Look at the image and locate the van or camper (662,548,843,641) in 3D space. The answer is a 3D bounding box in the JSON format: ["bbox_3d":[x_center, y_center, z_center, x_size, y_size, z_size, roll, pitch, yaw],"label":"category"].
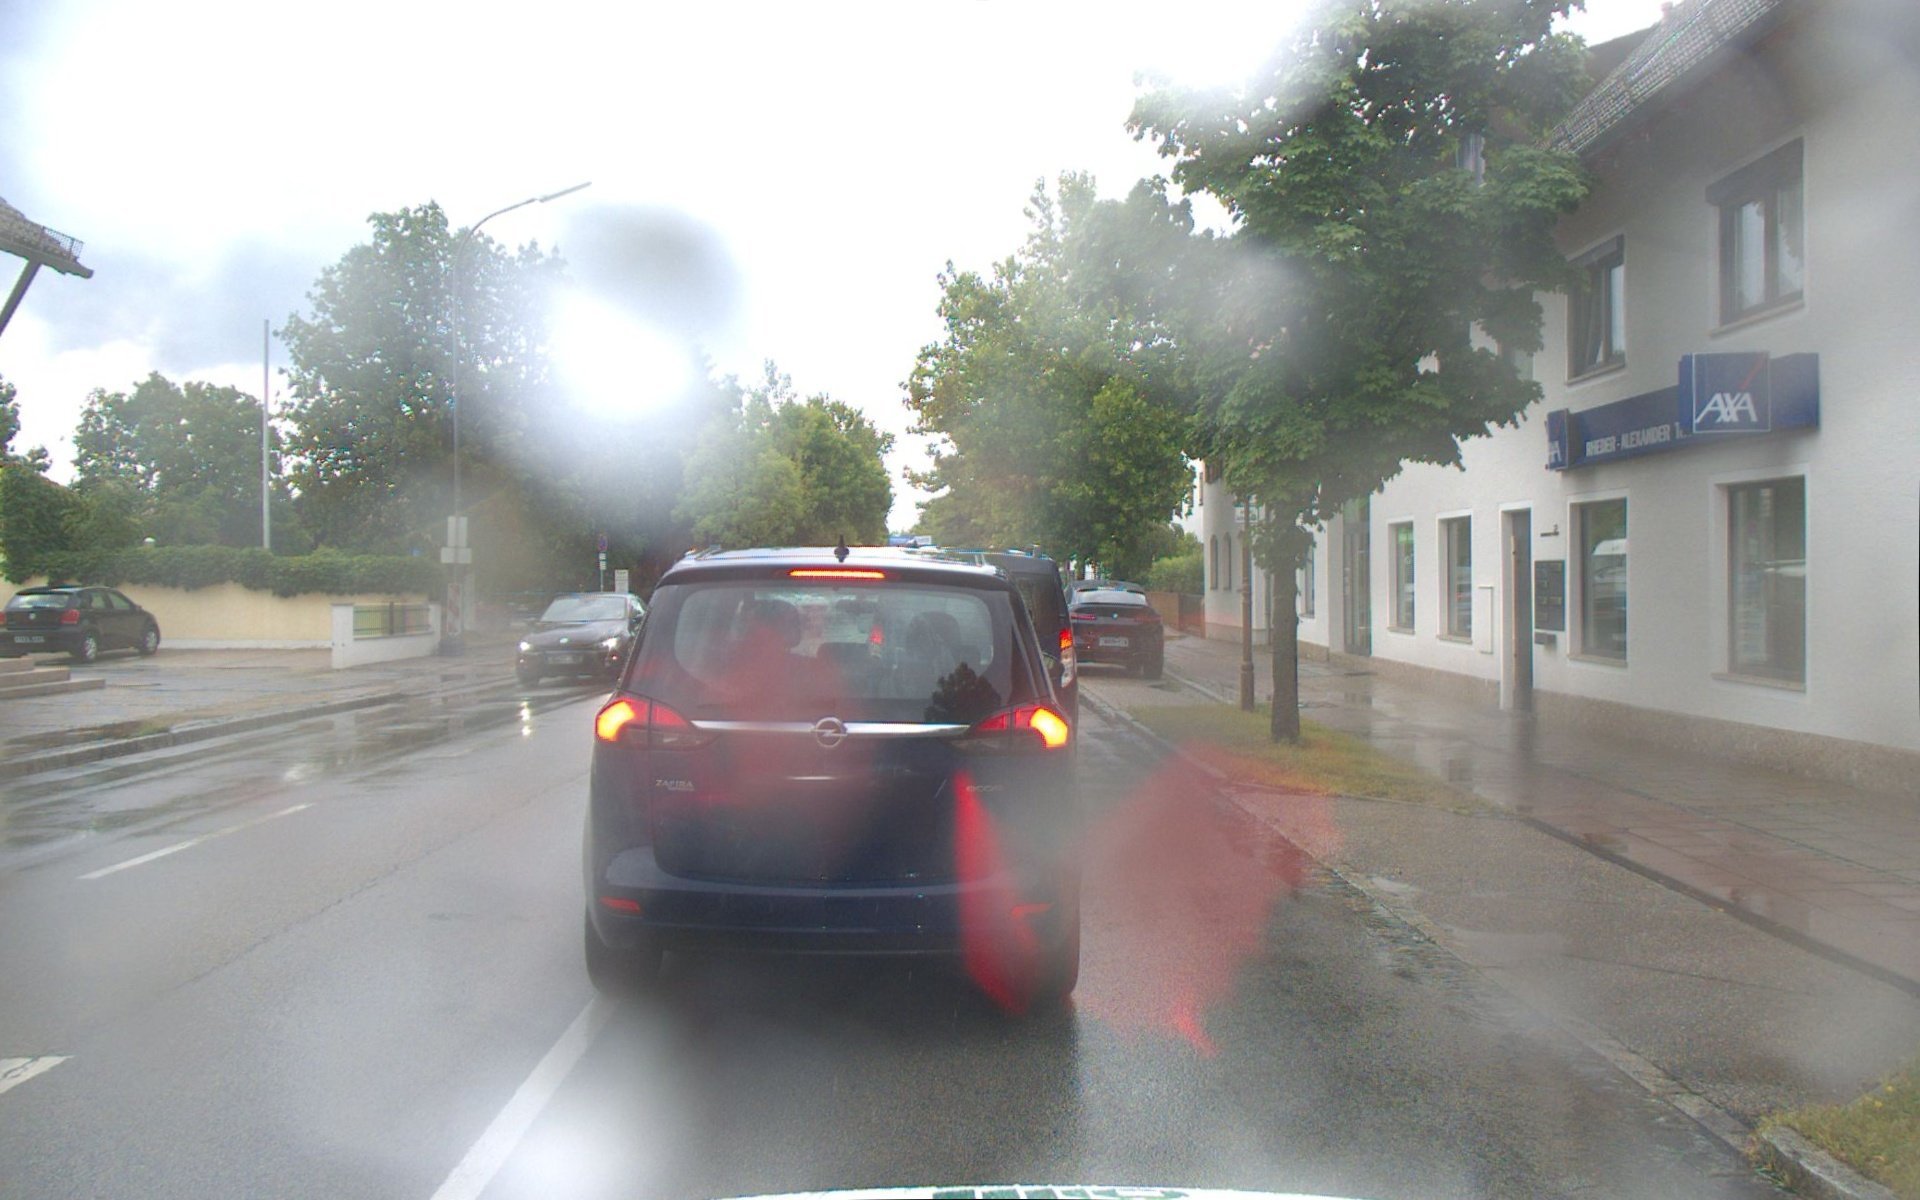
[{"bbox_3d":[-6.552,-0.163,51.674,6.156,2.754,2.089,0,0,42],"label":"van or camper"}]

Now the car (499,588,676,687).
[{"bbox_3d":[-5.924,0.551,26.774,1.956,1.432,3.883,-2,0,0],"label":"car"}]

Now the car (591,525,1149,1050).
[{"bbox_3d":[-0.303,0.579,7.034,1.733,1.632,3.663,1,0,-1],"label":"car"}]

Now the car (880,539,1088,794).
[{"bbox_3d":[0.152,0.468,13.434,1.470,1.807,3.111,1,0,-1],"label":"car"}]

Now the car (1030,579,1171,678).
[{"bbox_3d":[2.421,0.471,29.521,2.075,1.609,3.934,1,0,-1],"label":"car"}]

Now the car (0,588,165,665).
[{"bbox_3d":[-17.357,0.483,32.712,1.574,1.404,3.508,-2,0,-1],"label":"car"}]

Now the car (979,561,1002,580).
[{"bbox_3d":[2.356,-2.257,127.549,1.597,1.402,3.622,-2,0,-1],"label":"car"}]

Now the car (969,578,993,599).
[{"bbox_3d":[1.501,-0.800,118.229,1.597,1.402,3.622,1,0,-1],"label":"car"}]

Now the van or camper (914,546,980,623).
[{"bbox_3d":[-0.485,-0.590,61.526,2.312,2.712,5.371,-1,0,-1],"label":"van or camper"}]
